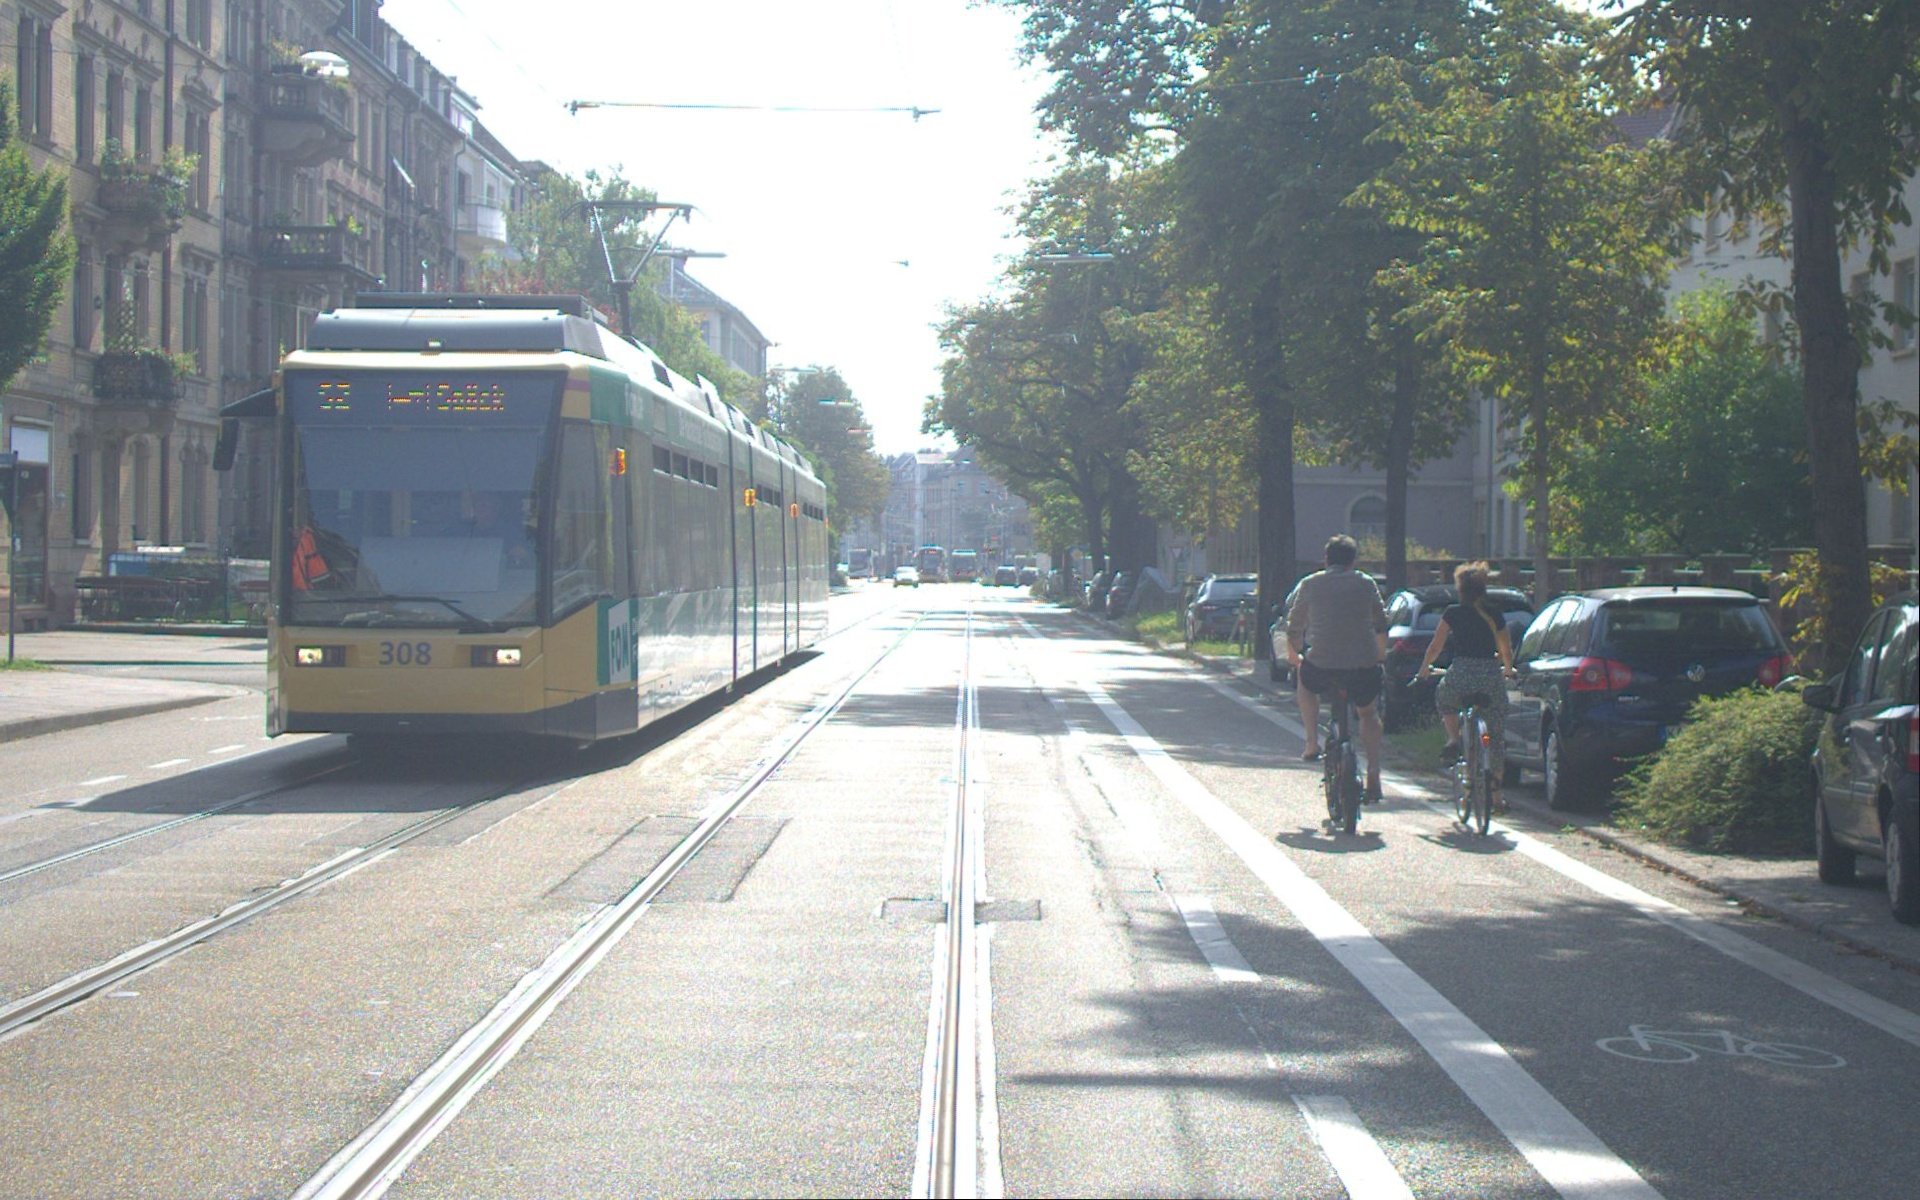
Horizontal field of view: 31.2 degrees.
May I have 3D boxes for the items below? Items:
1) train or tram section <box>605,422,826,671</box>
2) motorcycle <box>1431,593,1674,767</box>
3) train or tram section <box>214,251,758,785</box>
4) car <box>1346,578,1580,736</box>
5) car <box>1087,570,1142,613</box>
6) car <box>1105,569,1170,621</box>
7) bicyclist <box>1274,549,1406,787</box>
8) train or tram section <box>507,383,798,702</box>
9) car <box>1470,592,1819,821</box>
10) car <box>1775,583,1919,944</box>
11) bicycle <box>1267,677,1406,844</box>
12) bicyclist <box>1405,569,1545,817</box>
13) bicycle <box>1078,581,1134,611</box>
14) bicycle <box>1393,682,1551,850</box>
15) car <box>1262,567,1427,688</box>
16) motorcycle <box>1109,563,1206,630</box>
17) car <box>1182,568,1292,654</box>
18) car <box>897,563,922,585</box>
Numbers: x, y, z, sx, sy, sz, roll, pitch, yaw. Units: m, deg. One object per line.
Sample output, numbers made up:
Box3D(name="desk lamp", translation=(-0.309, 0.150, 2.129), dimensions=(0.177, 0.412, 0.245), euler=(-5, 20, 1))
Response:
Box3D(name="train or tram section", translation=(-3.698, -0.830, 54.456), dimensions=(2.734, 3.493, 10.776), euler=(1, 1, 0))
Box3D(name="motorcycle", translation=(4.942, 0.662, 28.703), dimensions=(1.854, 1.285, 0.705), euler=(-3, 6, -2))
Box3D(name="train or tram section", translation=(-3.611, -0.633, 30.606), dimensions=(2.734, 3.493, 15.434), euler=(1, 1, 0))
Box3D(name="car", translation=(5.067, 0.532, 35.156), dimensions=(1.689, 1.430, 4.337), euler=(-2, 1, 0))
Box3D(name="car", translation=(5.385, -0.289, 119.892), dimensions=(1.772, 1.468, 3.974), euler=(0, 0, 1))
Box3D(name="car", translation=(5.305, -0.144, 102.866), dimensions=(1.726, 1.499, 3.984), euler=(-1, 0, 0))
Box3D(name="bicyclist", translation=(2.309, 0.401, 20.967), dimensions=(0.626, 1.396, 0.929), euler=(3, 0, -1))
Box3D(name="train or tram section", translation=(-3.679, -0.699, 43.699), dimensions=(2.734, 3.493, 10.776), euler=(1, 1, 0))
Box3D(name="car", translation=(4.751, 0.687, 24.422), dimensions=(1.645, 1.443, 4.246), euler=(-1, 0, 1))
Box3D(name="car", translation=(5.071, 0.690, 16.682), dimensions=(1.645, 1.535, 3.841), euler=(-1, 0, 6))
Box3D(name="bicycle", translation=(2.282, 0.958, 20.961), dimensions=(0.626, 0.906, 1.525), euler=(3, 0, -1))
Box3D(name="bicyclist", translation=(3.166, 0.560, 21.191), dimensions=(0.654, 1.469, 0.909), euler=(3, 0, -1))
Box3D(name="bicycle", translation=(5.530, -0.152, 130.370), dimensions=(2.106, 1.101, 0.616), euler=(-1, 0, 0))
Box3D(name="bicycle", translation=(3.138, 1.001, 21.210), dimensions=(0.654, 0.906, 1.775), euler=(3, 0, -1))
Box3D(name="car", translation=(5.080, 0.345, 45.844), dimensions=(1.689, 1.497, 4.096), euler=(-1, 0, 0))
Box3D(name="motorcycle", translation=(4.989, -0.081, 87.039), dimensions=(2.418, 1.668, 0.911), euler=(0, 1, 45))
Box3D(name="car", translation=(5.154, 0.181, 64.544), dimensions=(1.743, 1.555, 4.719), euler=(0, 0, 1))
Box3D(name="car", translation=(-3.828, -1.995, 260.893), dimensions=(1.727, 1.632, 3.984), euler=(1, 0, 2))
